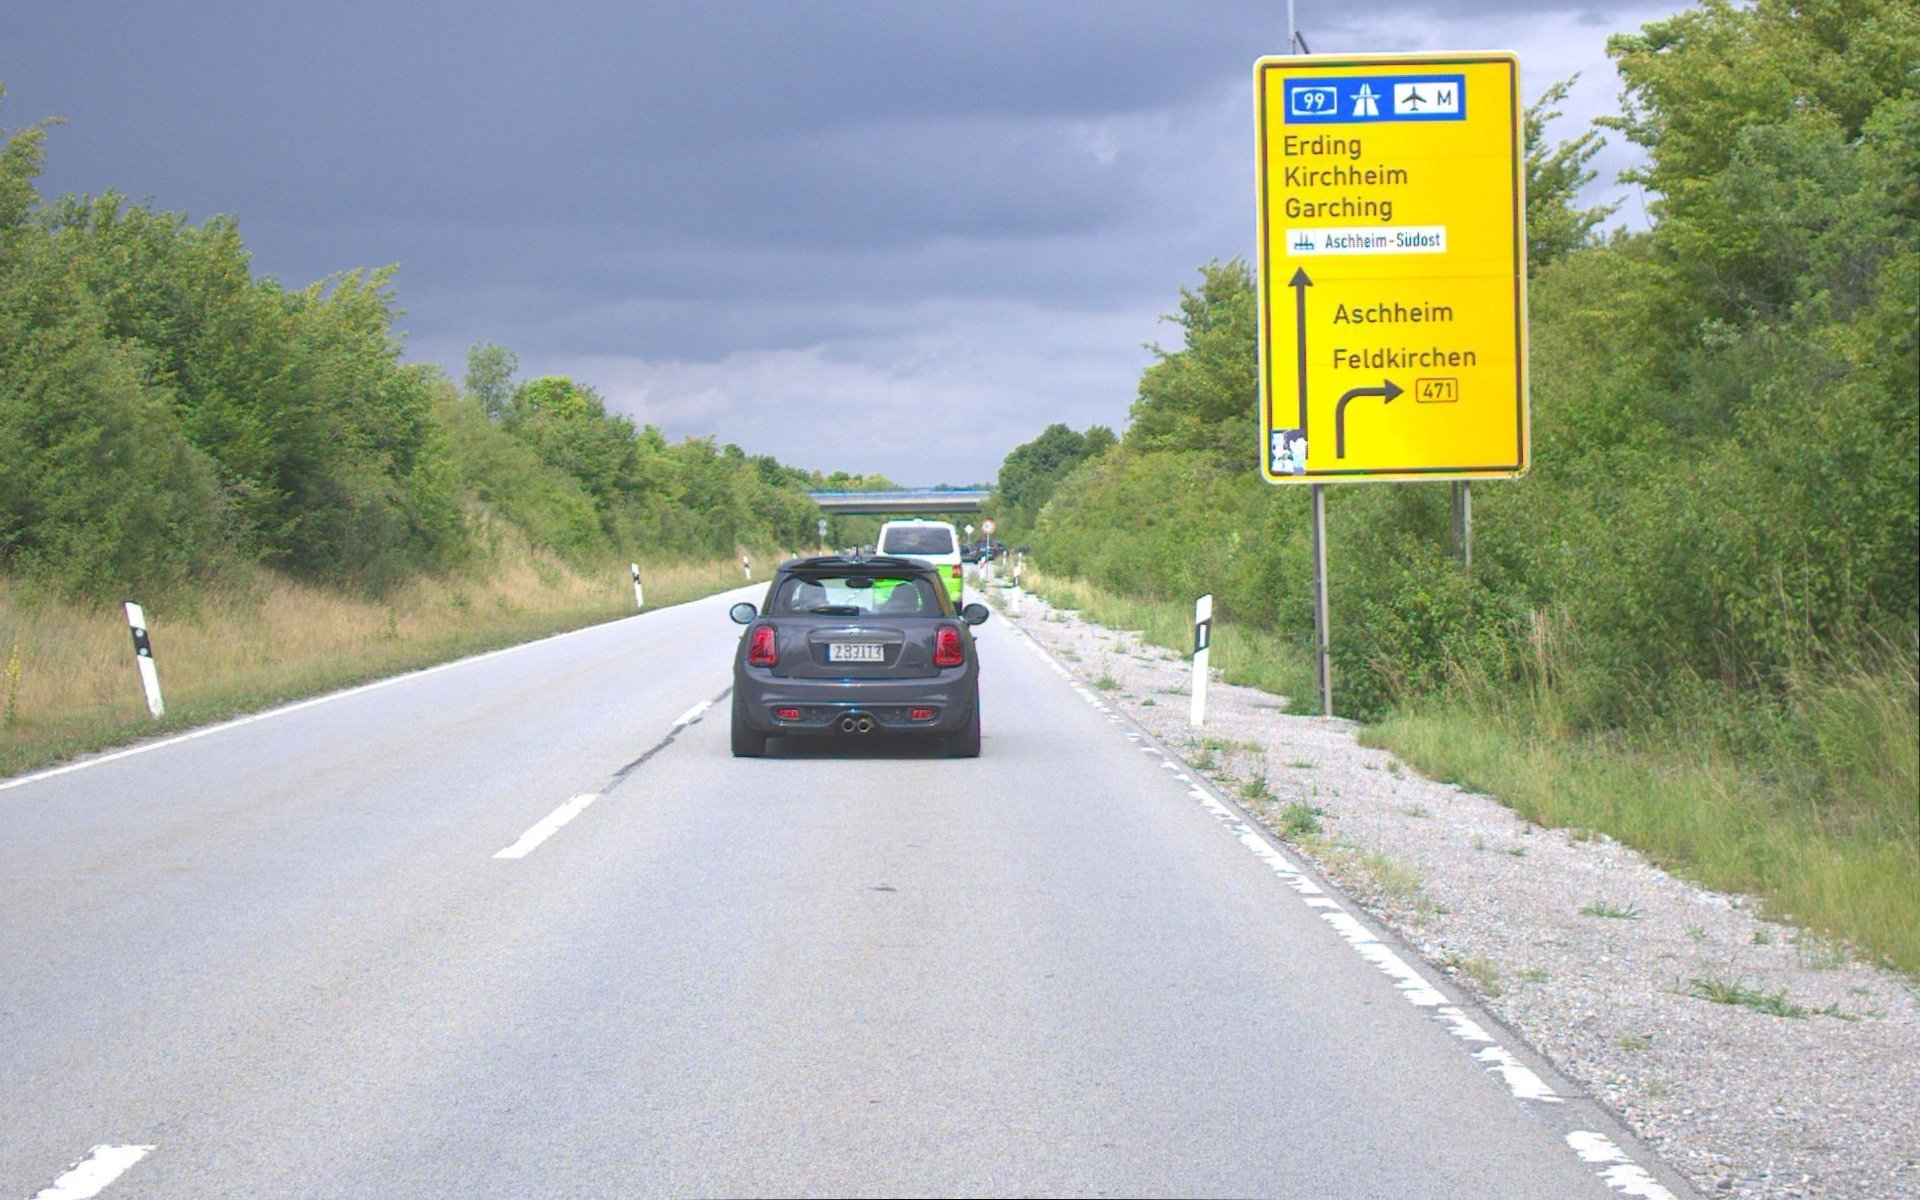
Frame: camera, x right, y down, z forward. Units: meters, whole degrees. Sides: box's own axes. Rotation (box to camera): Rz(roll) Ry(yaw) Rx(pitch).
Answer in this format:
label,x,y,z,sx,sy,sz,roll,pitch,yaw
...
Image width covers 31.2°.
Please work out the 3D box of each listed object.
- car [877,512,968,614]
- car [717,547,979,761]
label,x,y,z,sx,sy,sz,roll,pitch,yaw
car,-0.798,-0.782,71.927,1.819,2.047,4.000,1,1,-1
car,-0.788,0.336,25.277,1.756,1.422,4.000,1,1,-1
